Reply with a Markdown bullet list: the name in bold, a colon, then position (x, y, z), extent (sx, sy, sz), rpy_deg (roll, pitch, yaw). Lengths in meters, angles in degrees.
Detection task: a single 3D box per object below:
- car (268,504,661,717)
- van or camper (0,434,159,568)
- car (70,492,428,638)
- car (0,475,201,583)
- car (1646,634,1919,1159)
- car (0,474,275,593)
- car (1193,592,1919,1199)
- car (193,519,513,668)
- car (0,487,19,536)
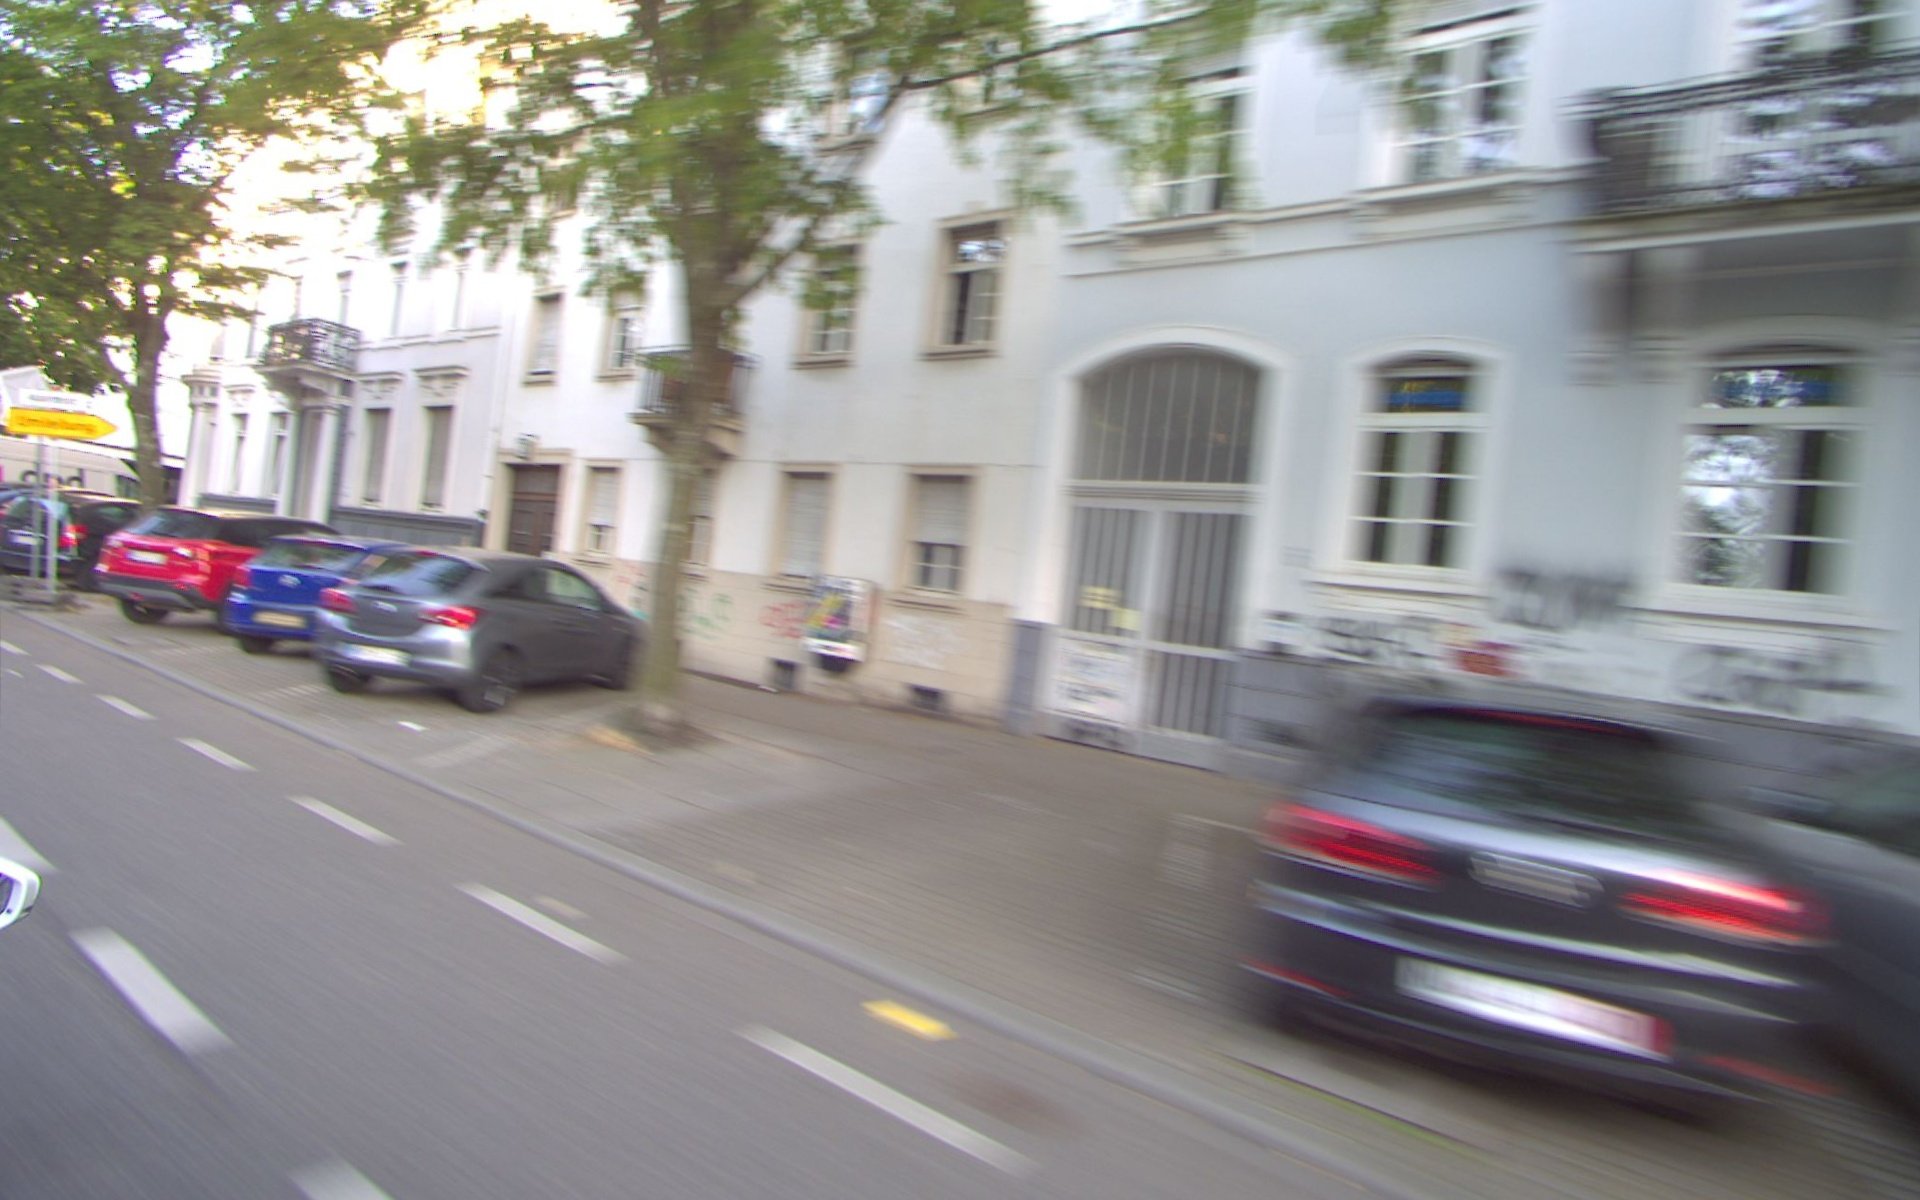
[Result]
- **car**: position (-4.862, 0.121, 10.621), extent (1.805, 1.623, 3.956), rpy_deg (7, 0, 5)
- **van or camper**: position (-19.671, -2.057, 20.479), extent (2.047, 2.564, 5.545), rpy_deg (6, 2, 2)
- **car**: position (-9.786, -0.459, 14.287), extent (1.805, 1.625, 3.953), rpy_deg (6, 2, 10)
- **car**: position (-16.866, -1.319, 18.877), extent (1.805, 1.789, 3.953), rpy_deg (6, 2, 10)
- **car**: position (4.329, 1.140, 3.655), extent (1.806, 1.626, 3.949), rpy_deg (7, 3, 18)
- **car**: position (-14.828, -1.120, 18.112), extent (1.805, 1.789, 3.953), rpy_deg (6, 2, 10)
- **car**: position (2.443, 0.945, 4.940), extent (1.807, 1.624, 3.952), rpy_deg (7, 1, 22)
- **car**: position (-7.383, -0.068, 12.705), extent (1.628, 1.463, 3.651), rpy_deg (6, 0, 2)
- **car**: position (-27.255, -2.476, 26.380), extent (1.625, 1.326, 3.776), rpy_deg (6, 2, -2)
